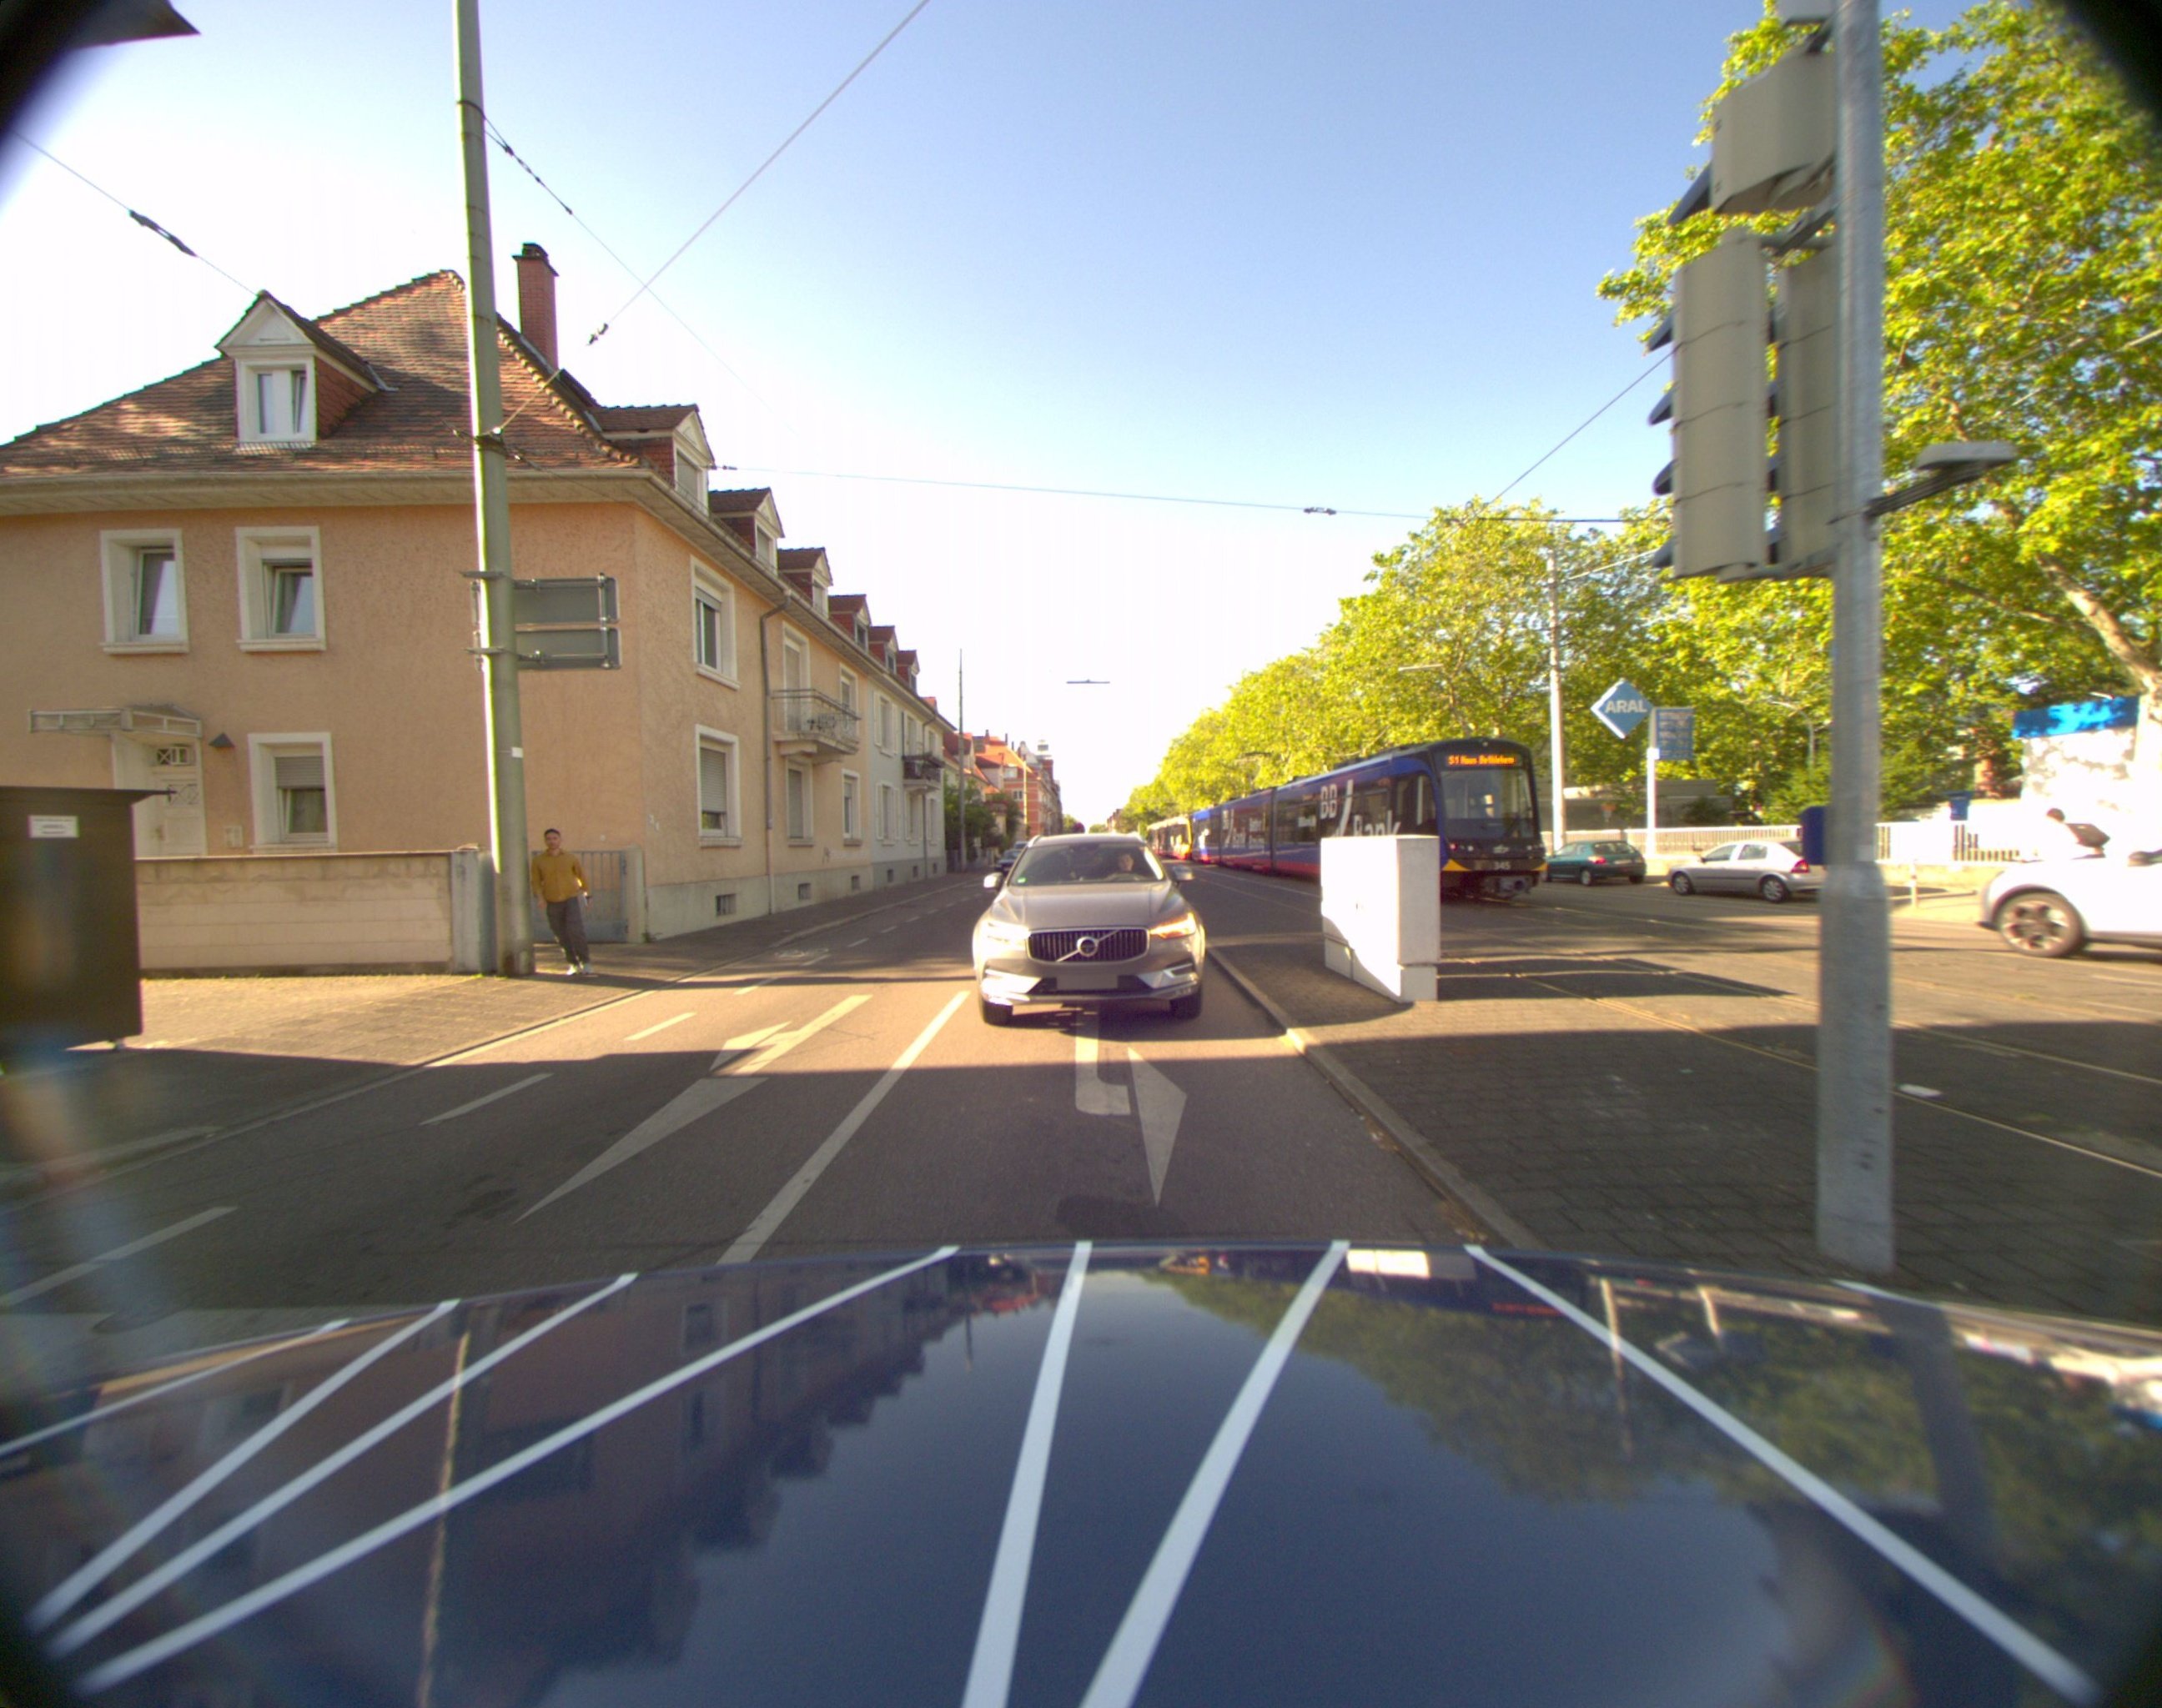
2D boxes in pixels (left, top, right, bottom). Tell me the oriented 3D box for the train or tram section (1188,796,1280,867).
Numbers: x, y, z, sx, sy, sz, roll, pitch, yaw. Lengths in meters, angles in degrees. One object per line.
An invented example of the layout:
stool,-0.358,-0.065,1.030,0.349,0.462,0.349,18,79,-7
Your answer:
train or tram section,8.642,-1.262,44.705,3.063,3.592,12.112,-1,1,1

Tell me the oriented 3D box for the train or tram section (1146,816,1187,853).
train or tram section,8.999,-2.001,81.216,3.063,3.592,12.886,-1,1,1

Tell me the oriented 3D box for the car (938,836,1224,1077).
car,0.029,0.658,7.416,1.917,1.622,4.502,-1,1,1

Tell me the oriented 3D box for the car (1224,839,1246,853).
car,17.566,-0.961,86.683,1.882,1.543,4.000,-1,1,2

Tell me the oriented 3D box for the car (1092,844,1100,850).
car,3.705,-1.838,193.194,1.882,1.477,3.999,-1,1,-1

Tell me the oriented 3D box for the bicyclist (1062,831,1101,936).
bicyclist,0.009,0.482,12.761,0.600,1.709,0.662,-1,2,1

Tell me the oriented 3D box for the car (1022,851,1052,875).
car,-2.934,0.598,51.433,1.882,1.477,3.999,-1,1,-1

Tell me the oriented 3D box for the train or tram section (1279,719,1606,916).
train or tram section,8.261,-0.784,20.094,3.062,3.592,12.112,-1,1,1

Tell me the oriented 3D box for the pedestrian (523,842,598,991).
pedestrian,-6.333,0.731,9.263,0.603,1.751,0.486,-2,2,-21

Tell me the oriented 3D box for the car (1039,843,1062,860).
car,-2.687,-0.233,68.093,1.882,1.477,3.999,-1,1,-1

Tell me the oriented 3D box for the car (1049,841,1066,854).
car,-2.651,-0.753,88.068,1.882,1.477,3.999,-1,1,-1

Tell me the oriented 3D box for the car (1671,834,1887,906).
car,16.260,0.312,17.960,1.779,1.416,3.537,-4,1,-1

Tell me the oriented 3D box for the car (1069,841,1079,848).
car,-1.368,-1.898,150.128,1.882,1.477,3.999,-1,1,-1

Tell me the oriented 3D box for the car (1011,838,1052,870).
car,-2.952,-0.050,46.330,1.932,1.835,5.312,-1,1,2

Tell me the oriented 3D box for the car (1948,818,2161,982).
car,10.813,0.429,6.433,1.998,1.488,4.347,0,1,2

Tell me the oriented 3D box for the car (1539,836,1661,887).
car,16.525,0.202,24.381,1.779,1.416,3.311,-4,1,5

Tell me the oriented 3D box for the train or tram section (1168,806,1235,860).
train or tram section,8.726,-1.508,56.819,3.063,3.592,12.111,-1,1,0

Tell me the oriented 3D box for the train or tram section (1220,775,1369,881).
train or tram section,8.494,-1.023,32.403,3.062,3.592,12.500,-1,1,1

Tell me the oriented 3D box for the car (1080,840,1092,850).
car,0.809,-1.470,121.792,1.882,1.477,3.999,-1,1,-1

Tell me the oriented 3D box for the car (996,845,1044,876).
car,-3.183,0.314,40.264,1.881,1.477,4.000,-1,1,5

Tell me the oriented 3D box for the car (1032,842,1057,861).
car,-3.026,-0.243,63.810,1.882,1.477,3.999,-1,1,-1

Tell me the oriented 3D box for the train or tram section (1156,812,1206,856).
train or tram section,8.832,-1.744,68.820,3.063,3.592,11.947,-1,1,1
